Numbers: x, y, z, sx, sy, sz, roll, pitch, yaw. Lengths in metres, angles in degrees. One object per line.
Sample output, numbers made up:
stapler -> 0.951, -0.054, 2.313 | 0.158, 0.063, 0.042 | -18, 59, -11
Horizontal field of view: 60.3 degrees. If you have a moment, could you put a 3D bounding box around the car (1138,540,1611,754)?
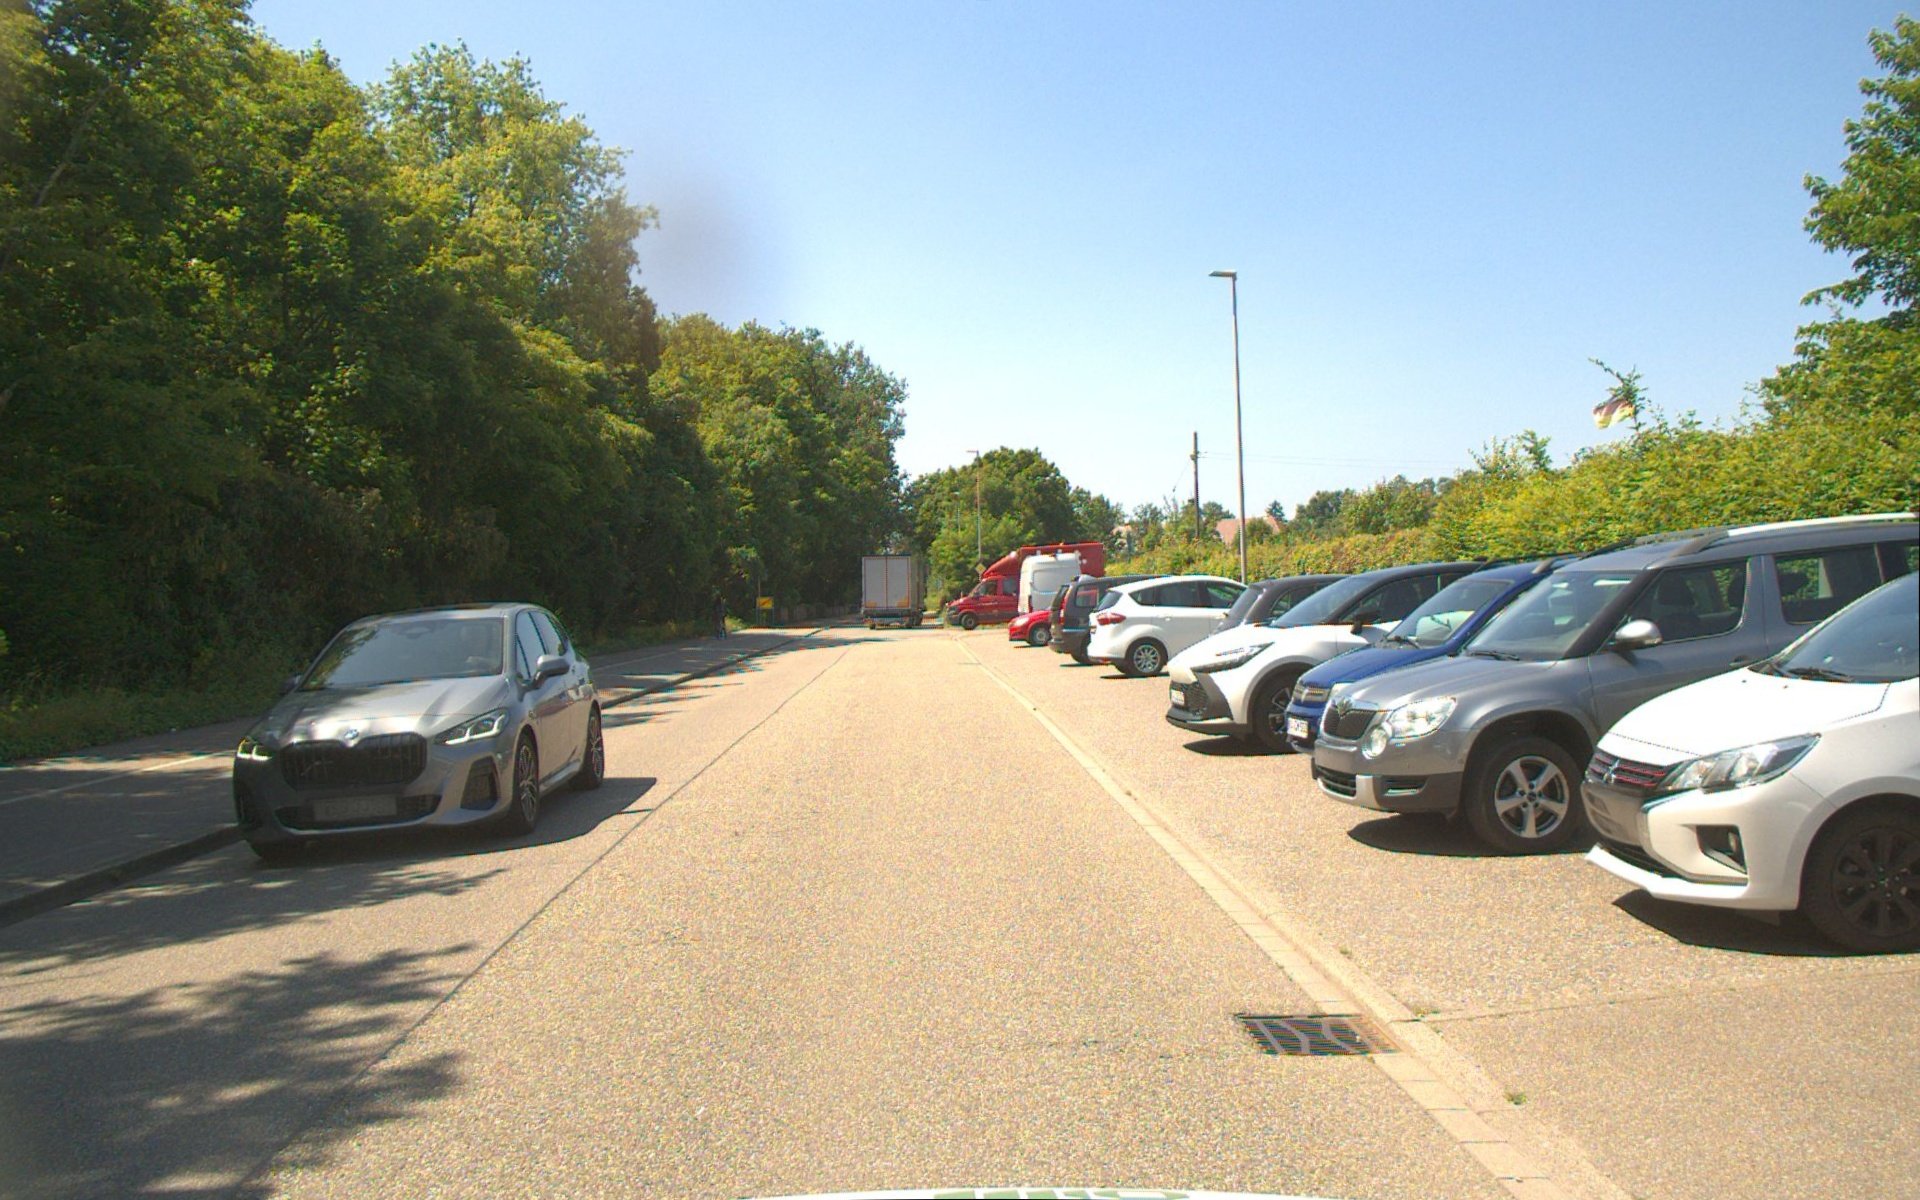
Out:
car -> 3.869, 0.403, 15.804 | 3.890, 1.549, 1.861 | -5, 1, -8

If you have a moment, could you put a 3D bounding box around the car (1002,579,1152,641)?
car -> 3.306, 0.263, 47.348 | 3.976, 1.459, 1.834 | -4, 1, -5

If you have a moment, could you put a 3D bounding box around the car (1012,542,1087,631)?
car -> 3.044, -0.472, 57.789 | 1.915, 2.780, 7.166 | -4, 1, -1

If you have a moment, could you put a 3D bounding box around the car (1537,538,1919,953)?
car -> 4.631, 0.451, 7.167 | 3.614, 1.475, 1.610 | -5, 1, 1

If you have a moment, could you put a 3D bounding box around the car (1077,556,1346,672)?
car -> 4.243, 0.219, 28.278 | 4.193, 1.605, 1.764 | -4, 1, -4

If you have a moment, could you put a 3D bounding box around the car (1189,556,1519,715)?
car -> 4.409, 0.373, 18.828 | 3.318, 1.530, 1.588 | -4, 1, 1

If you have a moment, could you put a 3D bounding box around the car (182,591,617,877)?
car -> -3.840, 0.801, 12.166 | 1.854, 1.558, 4.194 | -5, 1, -3

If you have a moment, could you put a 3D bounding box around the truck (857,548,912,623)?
truck -> -4.064, -0.757, 90.971 | 2.678, 3.811, 13.241 | -1, 0, -1

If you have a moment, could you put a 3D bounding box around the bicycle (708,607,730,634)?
bicycle -> -9.817, 0.814, 67.456 | 0.549, 1.045, 1.839 | -2, 0, 2

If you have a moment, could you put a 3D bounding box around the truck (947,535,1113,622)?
truck -> 3.009, -0.944, 71.909 | 6.990, 3.500, 2.331 | -2, 1, 1

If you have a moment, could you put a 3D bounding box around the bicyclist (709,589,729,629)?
bicyclist -> -9.834, 0.372, 67.484 | 0.635, 1.592, 0.837 | -2, 0, 2

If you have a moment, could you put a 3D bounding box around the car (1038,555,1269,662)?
car -> 3.987, 0.171, 34.523 | 4.369, 1.836, 1.950 | -4, 0, -7

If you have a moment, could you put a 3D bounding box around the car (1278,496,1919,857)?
car -> 4.121, 0.369, 10.016 | 3.887, 1.668, 1.661 | -5, 1, -8

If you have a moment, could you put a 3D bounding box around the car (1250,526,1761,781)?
car -> 4.190, 0.374, 12.949 | 3.388, 1.553, 1.537 | -5, 1, -8
